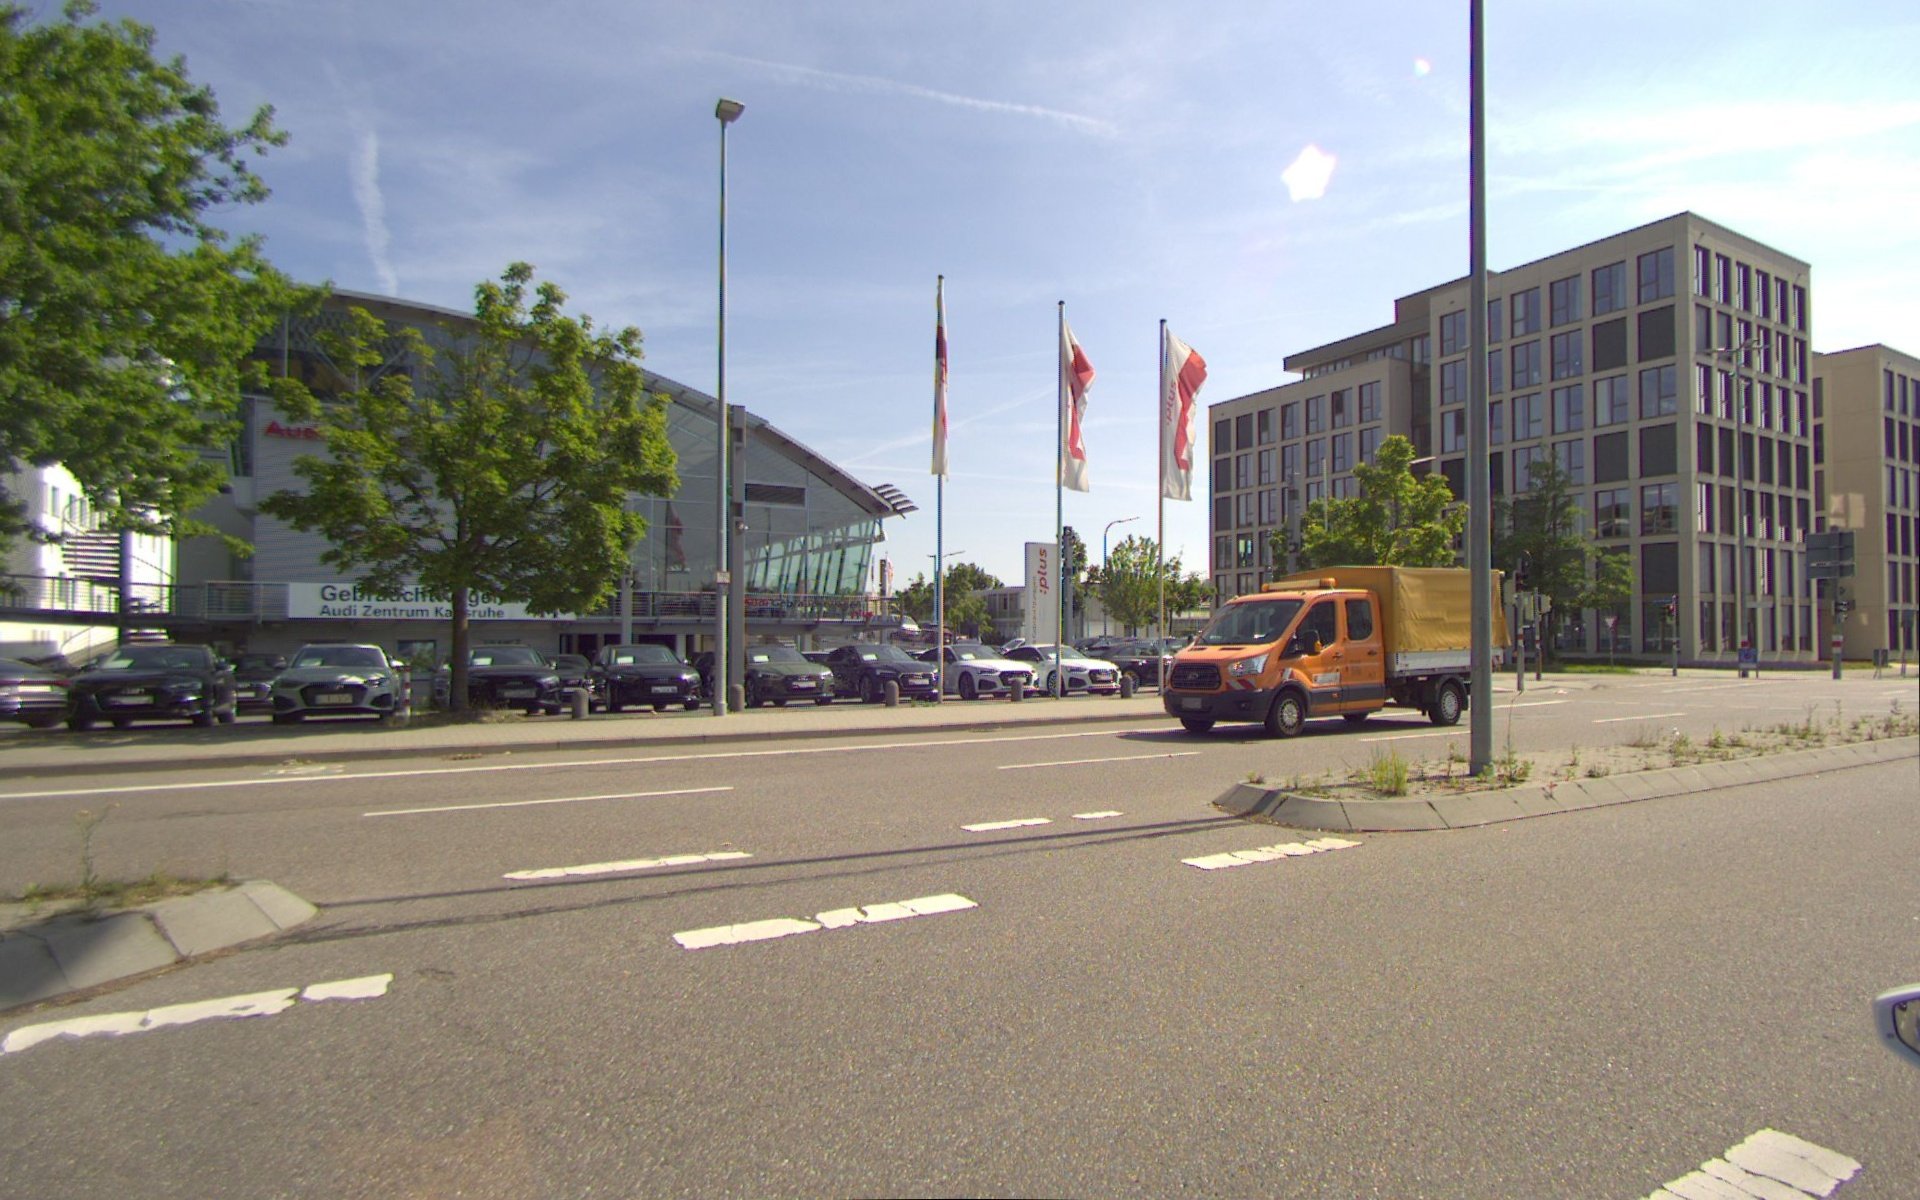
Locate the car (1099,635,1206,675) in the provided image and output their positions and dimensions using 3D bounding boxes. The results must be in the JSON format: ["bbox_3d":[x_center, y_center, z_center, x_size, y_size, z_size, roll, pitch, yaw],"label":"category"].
[{"bbox_3d":[8.638,2.432,44.934,4.722,1.525,1.779,-2,-1,-31],"label":"car"}]

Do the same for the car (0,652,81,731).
[{"bbox_3d":[-18.370,1.637,18.140,3.762,1.350,1.691,-1,-2,8],"label":"car"}]

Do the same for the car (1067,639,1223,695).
[{"bbox_3d":[5.411,1.885,29.205,4.373,1.515,1.789,1,-2,-30],"label":"car"}]

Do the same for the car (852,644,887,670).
[{"bbox_3d":[-5.293,3.326,59.079,1.762,1.461,4.028,0,-2,-1],"label":"car"}]

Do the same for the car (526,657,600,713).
[{"bbox_3d":[-11.991,2.506,30.268,1.571,1.492,3.491,1,-2,-30],"label":"car"}]

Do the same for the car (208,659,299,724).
[{"bbox_3d":[-18.625,2.360,26.601,1.671,1.492,3.798,1,-2,-31],"label":"car"}]

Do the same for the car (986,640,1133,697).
[{"bbox_3d":[2.556,1.850,26.726,1.856,1.387,4.055,1,-5,-30],"label":"car"}]

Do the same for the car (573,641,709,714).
[{"bbox_3d":[-6.829,1.650,21.222,1.809,1.372,4.260,1,-5,-31],"label":"car"}]

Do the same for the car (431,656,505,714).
[{"bbox_3d":[-14.317,2.414,29.148,1.670,1.492,3.643,1,-2,-30],"label":"car"}]

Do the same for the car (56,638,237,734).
[{"bbox_3d":[-13.619,1.449,17.064,1.788,1.420,4.006,1,-5,-31],"label":"car"}]

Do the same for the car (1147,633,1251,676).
[{"bbox_3d":[10.232,2.290,42.947,4.325,1.564,1.779,-2,-1,-31],"label":"car"}]

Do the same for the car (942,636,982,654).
[{"bbox_3d":[0.269,5.150,115.141,4.190,1.965,1.885,2,-3,-30],"label":"car"}]

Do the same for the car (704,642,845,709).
[{"bbox_3d":[-4.284,1.709,22.675,1.833,1.352,4.157,1,-5,-30],"label":"car"}]

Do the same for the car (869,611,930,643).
[{"bbox_3d":[-4.052,1.785,66.332,2.066,1.932,4.508,6,-4,-32],"label":"car"}]

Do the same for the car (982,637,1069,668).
[{"bbox_3d":[3.563,2.817,54.517,4.507,1.461,1.779,-1,-2,-31],"label":"car"}]

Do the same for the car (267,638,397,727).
[{"bbox_3d":[-11.363,1.499,18.351,1.781,1.412,4.197,1,-5,-30],"label":"car"}]

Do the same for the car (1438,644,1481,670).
[{"bbox_3d":[30.512,3.455,61.449,1.772,1.434,4.032,-1,-2,18],"label":"car"}]

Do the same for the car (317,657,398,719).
[{"bbox_3d":[-16.624,2.360,27.821,1.783,1.492,3.800,1,-2,-30],"label":"car"}]

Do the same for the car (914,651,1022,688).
[{"bbox_3d":[0.345,2.725,40.033,4.019,1.396,1.779,2,-3,-31],"label":"car"}]

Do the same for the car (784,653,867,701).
[{"bbox_3d":[-4.683,2.592,34.609,1.647,1.492,3.491,1,-2,-30],"label":"car"}]

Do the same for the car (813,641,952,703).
[{"bbox_3d":[-1.933,1.727,23.899,1.815,1.336,3.972,1,-5,-29],"label":"car"}]

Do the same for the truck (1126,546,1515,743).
[{"bbox_3d":[6.008,0.731,16.353,6.599,2.658,2.363,1,-4,-32],"label":"truck"}]

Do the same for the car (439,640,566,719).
[{"bbox_3d":[-9.090,1.565,19.794,1.815,1.372,4.091,1,-5,-31],"label":"car"}]

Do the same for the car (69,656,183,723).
[{"bbox_3d":[-20.929,2.185,25.341,1.671,1.456,3.797,1,-2,-32],"label":"car"}]

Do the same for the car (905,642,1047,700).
[{"bbox_3d":[0.313,1.808,25.392,1.846,1.336,3.970,1,-5,-30],"label":"car"}]

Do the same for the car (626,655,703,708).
[{"bbox_3d":[-9.383,2.535,31.780,1.506,1.492,3.490,1,-2,-31],"label":"car"}]

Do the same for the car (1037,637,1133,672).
[{"bbox_3d":[6.234,2.665,49.802,4.579,1.461,1.779,-1,-1,-31],"label":"car"}]

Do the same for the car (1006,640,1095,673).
[{"bbox_3d":[4.694,2.897,52.040,4.351,1.461,1.779,-1,-1,-31],"label":"car"}]
